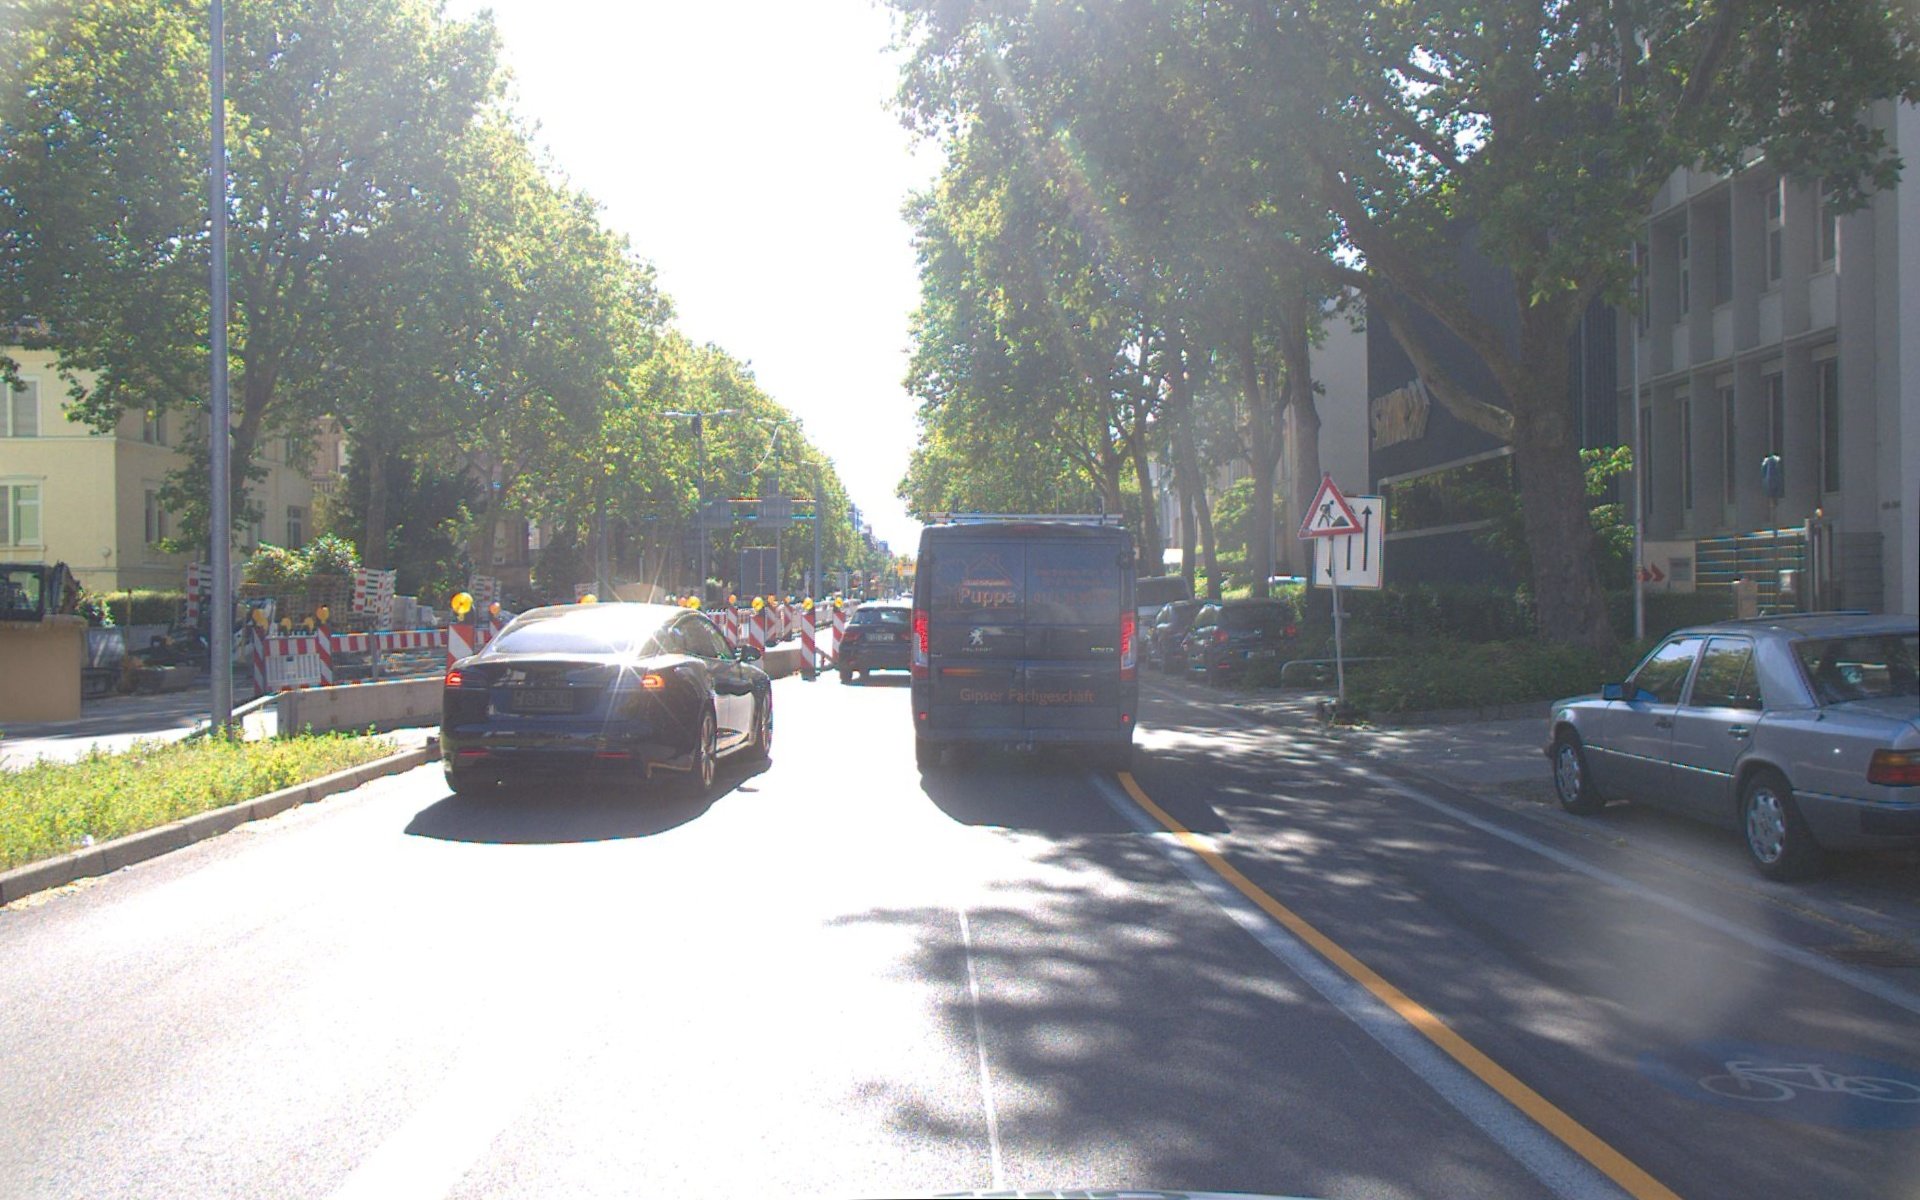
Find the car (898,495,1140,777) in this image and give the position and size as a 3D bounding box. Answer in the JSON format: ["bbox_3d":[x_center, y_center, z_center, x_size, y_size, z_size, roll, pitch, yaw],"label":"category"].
[{"bbox_3d":[0.525,0.284,16.041,2.052,2.396,3.933,0,1,1],"label":"car"}]

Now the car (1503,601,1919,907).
[{"bbox_3d":[5.359,0.770,10.764,1.815,1.505,4.939,0,0,-3],"label":"car"}]

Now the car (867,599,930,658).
[{"bbox_3d":[-1.620,0.704,42.879,1.517,1.450,3.552,0,0,-4],"label":"car"}]

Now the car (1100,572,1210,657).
[{"bbox_3d":[4.821,0.334,41.661,1.985,1.980,5.271,-1,0,-2],"label":"car"}]

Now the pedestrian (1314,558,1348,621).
[{"bbox_3d":[10.126,-0.288,45.163,0.692,1.677,0.675,2,2,-4],"label":"pedestrian"}]

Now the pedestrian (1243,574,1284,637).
[{"bbox_3d":[7.923,0.144,43.198,0.714,1.630,1.265,0,0,-7],"label":"pedestrian"}]

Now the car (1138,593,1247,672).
[{"bbox_3d":[4.857,0.642,34.971,1.624,1.567,4.127,0,0,-1],"label":"car"}]

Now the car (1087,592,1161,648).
[{"bbox_3d":[4.658,0.546,47.404,1.712,1.503,4.101,-1,0,0],"label":"car"}]

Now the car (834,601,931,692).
[{"bbox_3d":[-1.476,0.830,31.488,1.711,1.431,3.999,1,2,-3],"label":"car"}]

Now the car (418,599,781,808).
[{"bbox_3d":[-2.763,0.732,13.824,1.885,1.436,4.626,0,0,2],"label":"car"}]

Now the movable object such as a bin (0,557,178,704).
[{"bbox_3d":[-18.024,0.569,33.566,2.104,2.753,5.350,0,0,-4],"label":"movable object such as a bin"}]

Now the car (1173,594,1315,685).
[{"bbox_3d":[5.060,0.665,29.985,1.728,1.534,4.249,0,0,-1],"label":"car"}]

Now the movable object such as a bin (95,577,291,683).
[{"bbox_3d":[-18.273,0.674,39.742,1.952,2.318,5.599,-1,0,1],"label":"movable object such as a bin"}]
